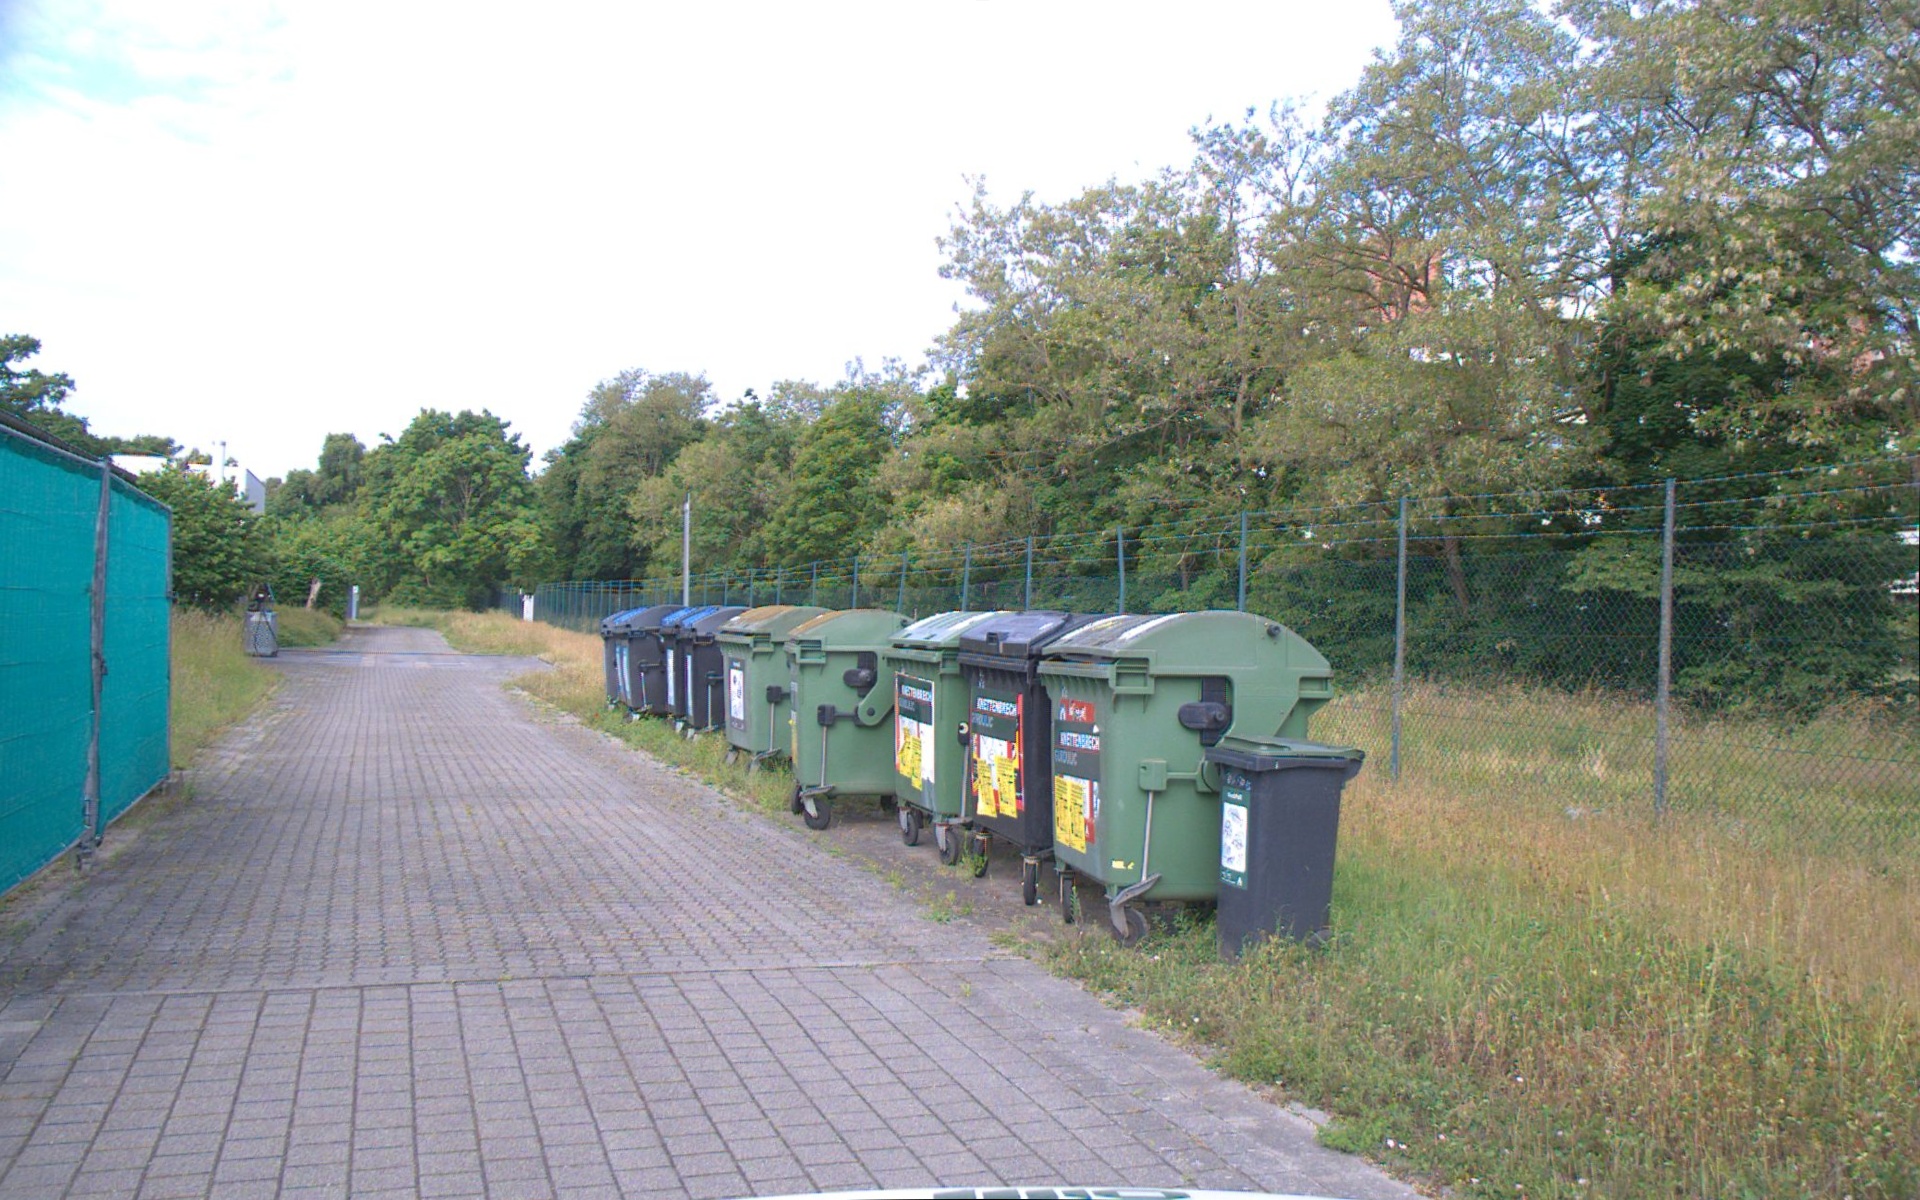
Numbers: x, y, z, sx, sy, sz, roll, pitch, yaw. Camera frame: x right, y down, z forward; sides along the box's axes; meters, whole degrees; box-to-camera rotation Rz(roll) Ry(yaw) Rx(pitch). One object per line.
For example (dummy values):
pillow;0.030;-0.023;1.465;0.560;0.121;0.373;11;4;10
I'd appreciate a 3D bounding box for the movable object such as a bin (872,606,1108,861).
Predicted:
movable object such as a bin;0.147;0.776;10.115;1.052;1.430;1.379;2;-2;-17

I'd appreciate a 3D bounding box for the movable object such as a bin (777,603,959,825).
movable object such as a bin;-0.672;0.764;11.496;1.102;1.423;1.382;2;-2;-9

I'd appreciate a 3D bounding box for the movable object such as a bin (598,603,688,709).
movable object such as a bin;-4.318;0.754;22.460;1.104;1.374;1.420;2;-2;-14

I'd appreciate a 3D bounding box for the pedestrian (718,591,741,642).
pedestrian;-9.358;0.673;67.102;0.748;2.049;0.660;1;-1;-21

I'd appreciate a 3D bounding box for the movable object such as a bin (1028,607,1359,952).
movable object such as a bin;1.017;0.768;7.586;1.108;1.420;1.352;2;-2;-11

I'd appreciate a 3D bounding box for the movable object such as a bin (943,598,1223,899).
movable object such as a bin;0.618;0.749;8.877;1.052;1.460;1.392;2;-2;-17

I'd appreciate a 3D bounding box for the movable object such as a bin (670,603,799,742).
movable object such as a bin;-2.340;0.732;17.026;1.135;1.348;1.488;2;-2;-14

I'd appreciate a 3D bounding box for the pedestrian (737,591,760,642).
pedestrian;-8.614;0.666;67.378;0.748;2.049;0.660;1;-1;-21

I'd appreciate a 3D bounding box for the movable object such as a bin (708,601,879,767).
movable object such as a bin;-1.430;0.692;13.966;1.106;1.319;1.371;2;-2;-20

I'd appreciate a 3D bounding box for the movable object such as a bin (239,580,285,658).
movable object such as a bin;-18.475;0.496;43.791;0.918;2.017;0.851;1;-1;-10

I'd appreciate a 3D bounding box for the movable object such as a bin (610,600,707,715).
movable object such as a bin;-3.869;0.728;21.112;1.104;1.403;1.320;2;-2;-14

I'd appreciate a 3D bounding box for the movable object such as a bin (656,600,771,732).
movable object such as a bin;-2.779;0.731;18.540;1.104;1.398;1.488;2;-2;-14

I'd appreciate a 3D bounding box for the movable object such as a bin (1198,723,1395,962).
movable object such as a bin;1.347;0.957;6.675;0.589;0.881;0.584;2;-2;-11

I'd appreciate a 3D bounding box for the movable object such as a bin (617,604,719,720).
movable object such as a bin;-3.522;0.728;19.861;1.104;1.345;1.320;1;-1;-14
